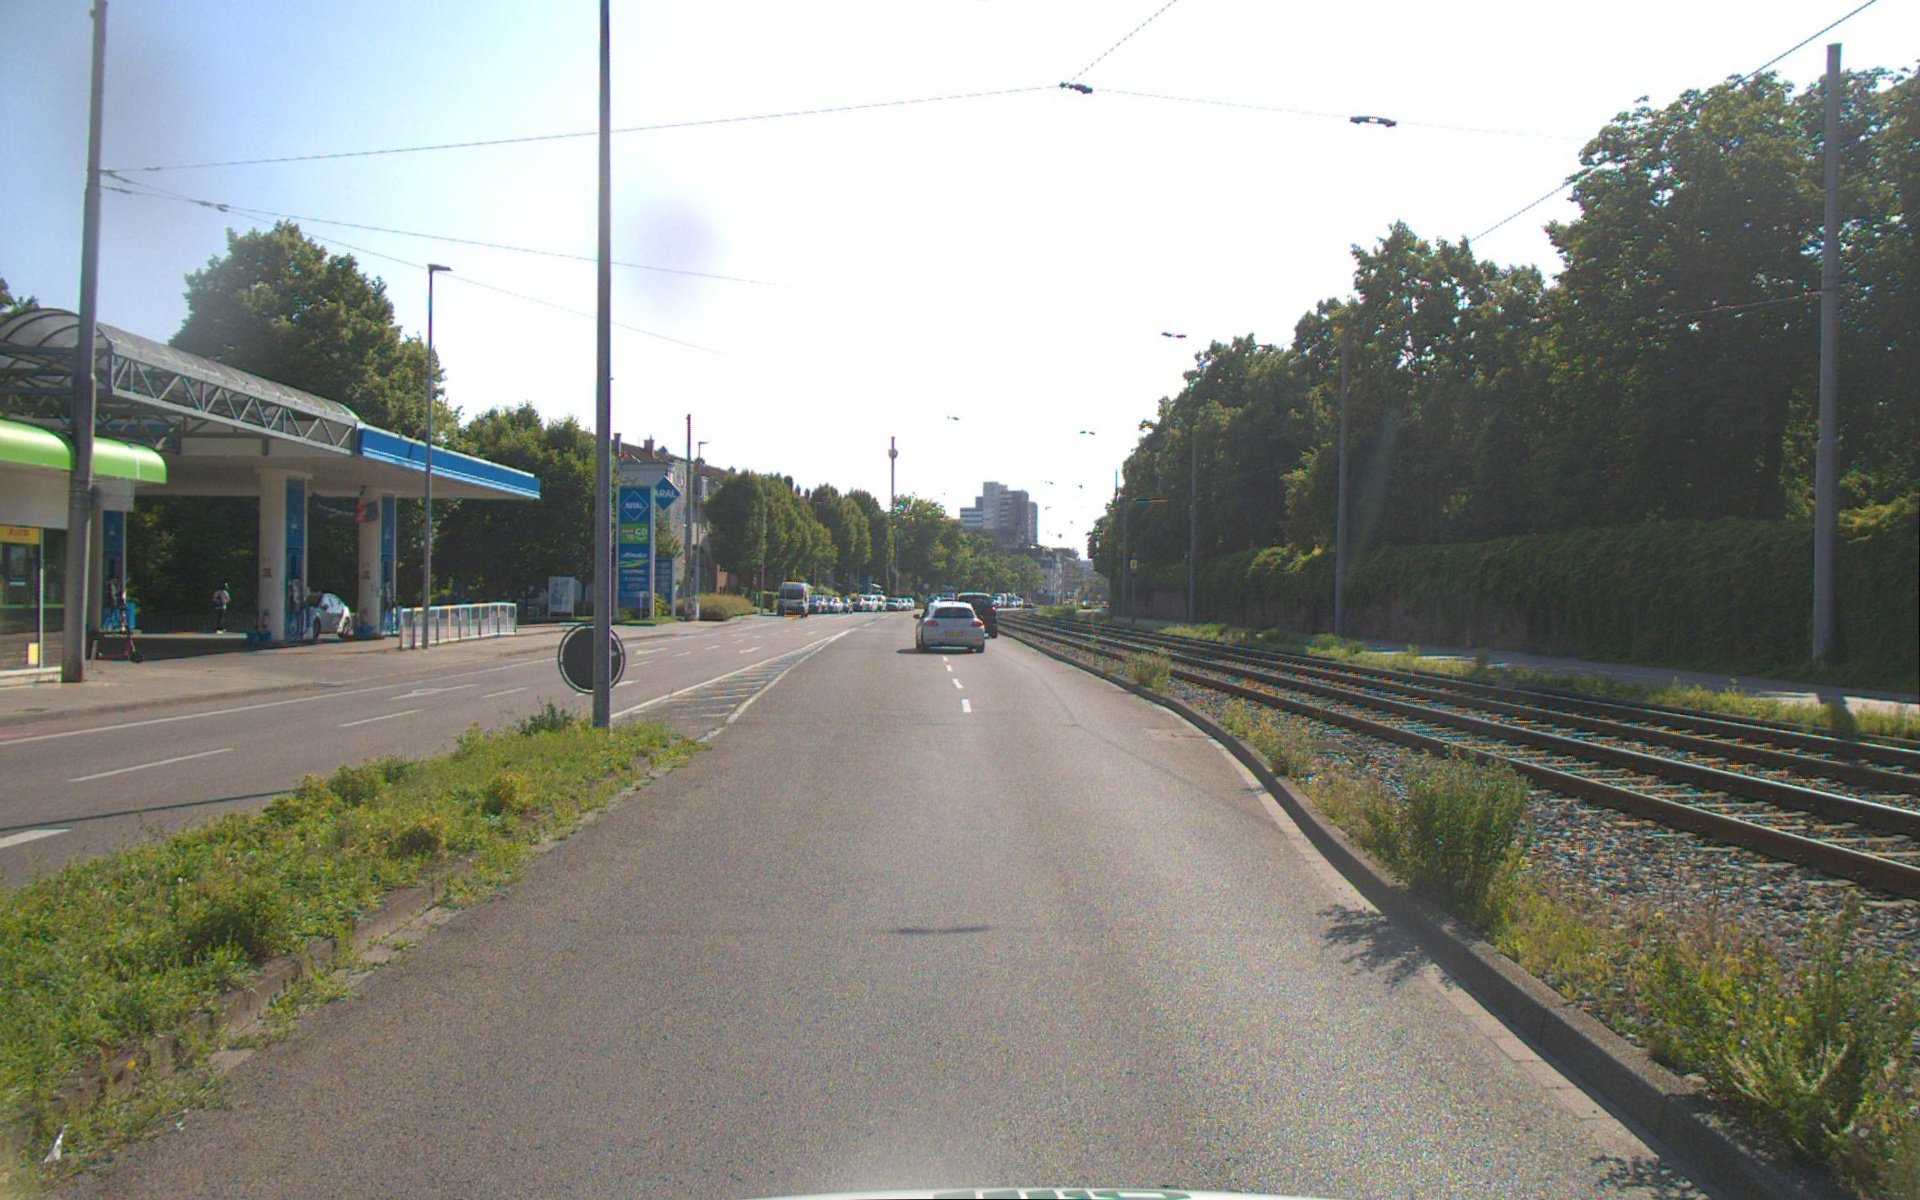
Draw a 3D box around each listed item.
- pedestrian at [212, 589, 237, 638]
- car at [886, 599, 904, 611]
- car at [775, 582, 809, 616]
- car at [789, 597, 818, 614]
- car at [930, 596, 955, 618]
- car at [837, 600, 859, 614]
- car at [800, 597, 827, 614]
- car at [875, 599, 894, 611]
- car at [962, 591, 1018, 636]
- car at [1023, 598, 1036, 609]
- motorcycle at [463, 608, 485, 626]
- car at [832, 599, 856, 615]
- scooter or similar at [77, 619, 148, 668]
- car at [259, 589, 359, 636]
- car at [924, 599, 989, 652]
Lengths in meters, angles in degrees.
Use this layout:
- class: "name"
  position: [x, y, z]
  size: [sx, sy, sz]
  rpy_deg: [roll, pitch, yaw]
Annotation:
- class: "pedestrian"
  position: [-26.554, 0.486, 59.710]
  size: [0.650, 1.758, 0.847]
  rpy_deg: [0, 0, -13]
- class: "car"
  position: [-7.698, 0.549, 197.275]
  size: [1.952, 1.441, 3.844]
  rpy_deg: [0, 0, 1]
- class: "car"
  position: [-12.302, -0.099, 121.322]
  size: [1.952, 2.418, 4.539]
  rpy_deg: [0, 0, 2]
- class: "car"
  position: [-12.936, 0.439, 137.059]
  size: [1.952, 1.441, 3.844]
  rpy_deg: [0, 0, 1]
- class: "car"
  position: [-1.267, 0.517, 120.488]
  size: [1.713, 1.511, 3.601]
  rpy_deg: [2, 0, 0]
- class: "car"
  position: [-11.593, 0.705, 170.959]
  size: [1.952, 1.441, 3.844]
  rpy_deg: [0, 0, 1]
- class: "car"
  position: [-12.597, 0.480, 142.772]
  size: [1.952, 1.441, 3.844]
  rpy_deg: [0, 0, 1]
- class: "car"
  position: [-8.790, 0.567, 192.486]
  size: [1.952, 1.441, 3.844]
  rpy_deg: [0, 0, 1]
- class: "car"
  position: [1.097, 0.485, 62.611]
  size: [1.691, 1.620, 3.597]
  rpy_deg: [2, 0, -6]
- class: "car"
  position: [10.291, 0.551, 245.515]
  size: [1.688, 1.620, 3.603]
  rpy_deg: [2, 0, 4]
- class: "motorcycle"
  position: [-25.029, 0.859, 85.257]
  size: [0.657, 0.917, 1.670]
  rpy_deg: [0, 0, -1]
- class: "car"
  position: [-11.167, 0.675, 159.528]
  size: [1.952, 1.441, 3.844]
  rpy_deg: [0, 0, 1]
- class: "scooter or similar"
  position: [-17.692, 0.910, 34.539]
  size: [1.234, 1.004, 0.499]
  rpy_deg: [0, 0, -1]
- class: "car"
  position: [-20.660, 0.379, 52.638]
  size: [1.709, 1.418, 4.119]
  rpy_deg: [0, 0, -3]
- class: "car"
  position: [-0.142, 0.692, 47.319]
  size: [1.745, 1.380, 3.600]
  rpy_deg: [2, 0, -2]
